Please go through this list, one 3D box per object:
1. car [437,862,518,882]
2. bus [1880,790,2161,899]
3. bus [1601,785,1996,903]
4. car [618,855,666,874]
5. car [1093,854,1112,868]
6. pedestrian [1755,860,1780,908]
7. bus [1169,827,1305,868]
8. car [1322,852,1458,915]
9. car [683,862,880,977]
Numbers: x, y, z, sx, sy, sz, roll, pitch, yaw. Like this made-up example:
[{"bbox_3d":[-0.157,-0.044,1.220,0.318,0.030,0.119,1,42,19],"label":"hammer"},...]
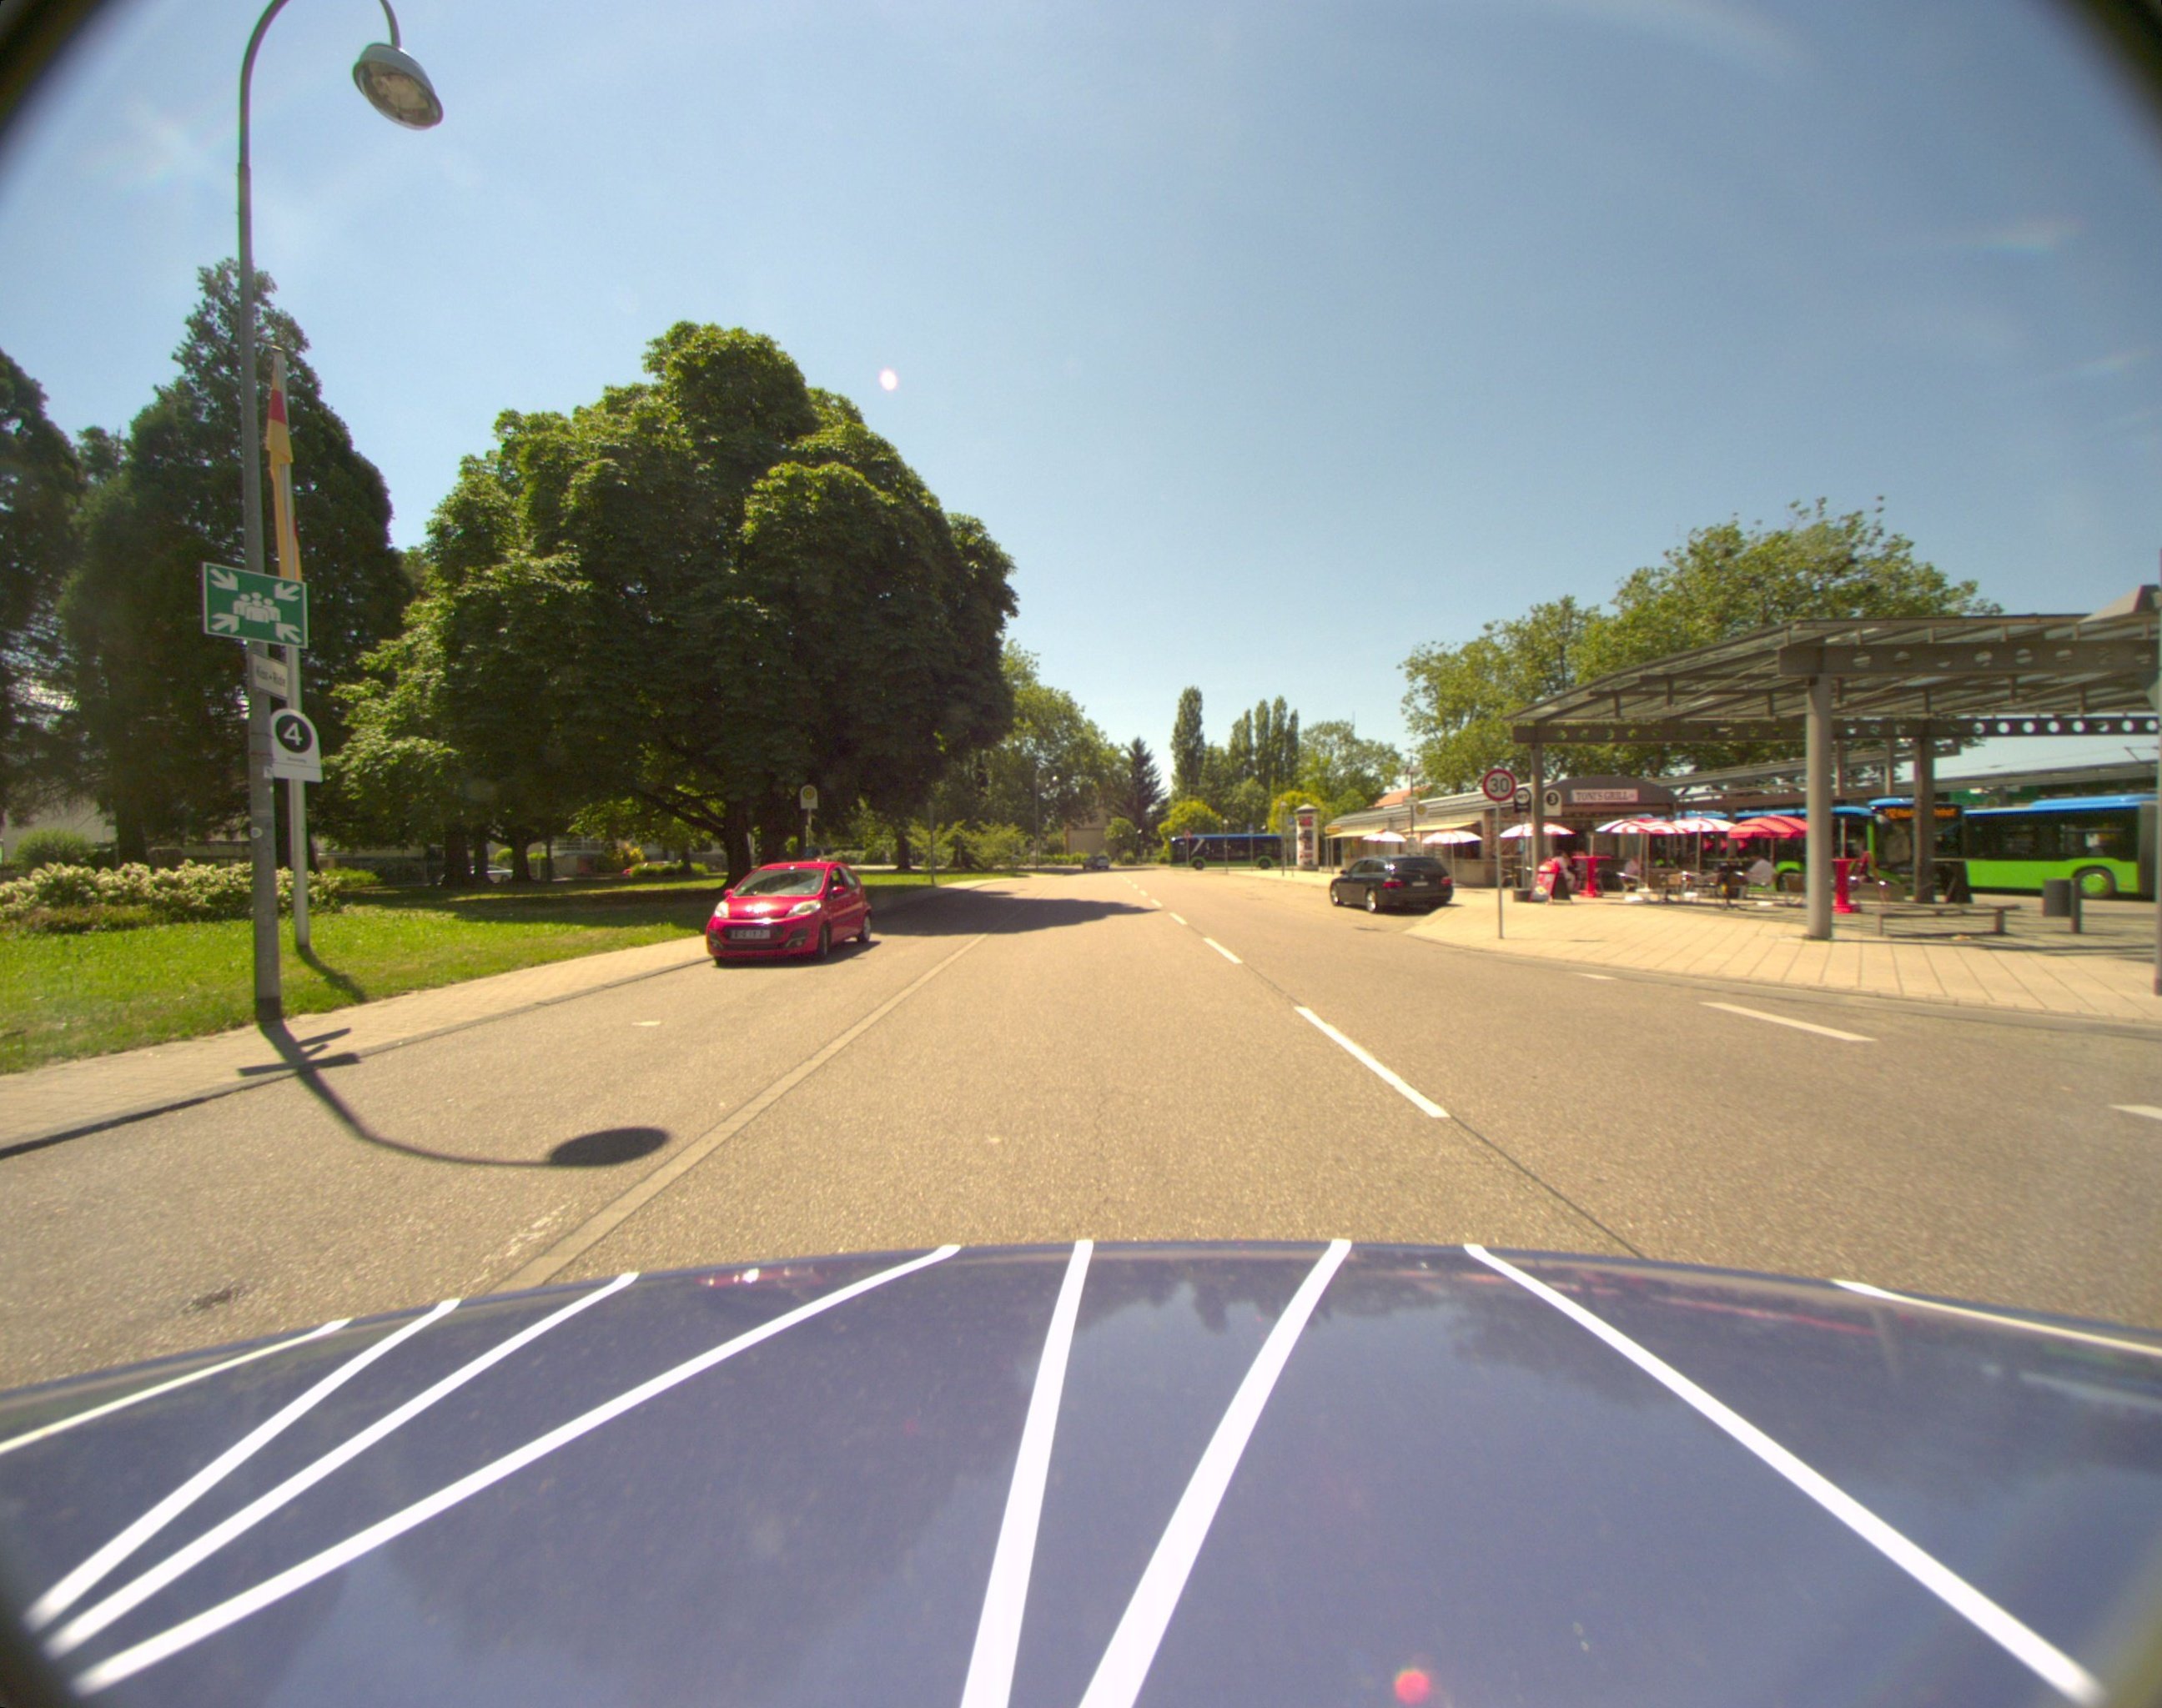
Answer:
[{"bbox_3d":[-46.025,1.358,58.066,1.667,1.280,4.720,0,2,16],"label":"car"},{"bbox_3d":[31.161,-0.273,20.904,2.874,3.019,15.520,0,0,4],"label":"bus"},{"bbox_3d":[23.730,-0.274,26.774,2.972,3.214,11.848,0,0,1],"label":"bus"},{"bbox_3d":[-42.225,0.970,73.137,1.700,1.591,4.002,0,2,11],"label":"car"},{"bbox_3d":[2.178,0.706,77.679,1.819,1.435,4.159,-1,0,1],"label":"car"},{"bbox_3d":[16.331,0.711,18.082,0.371,1.116,0.427,1,3,35],"label":"pedestrian"},{"bbox_3d":[14.436,-0.528,70.625,12.200,3.506,2.171,-1,1,14],"label":"bus"},{"bbox_3d":[8.150,0.708,20.553,1.723,1.470,4.785,0,1,0],"label":"car"},{"bbox_3d":[-4.530,0.896,12.104,1.723,1.470,3.705,0,1,-1],"label":"car"}]
